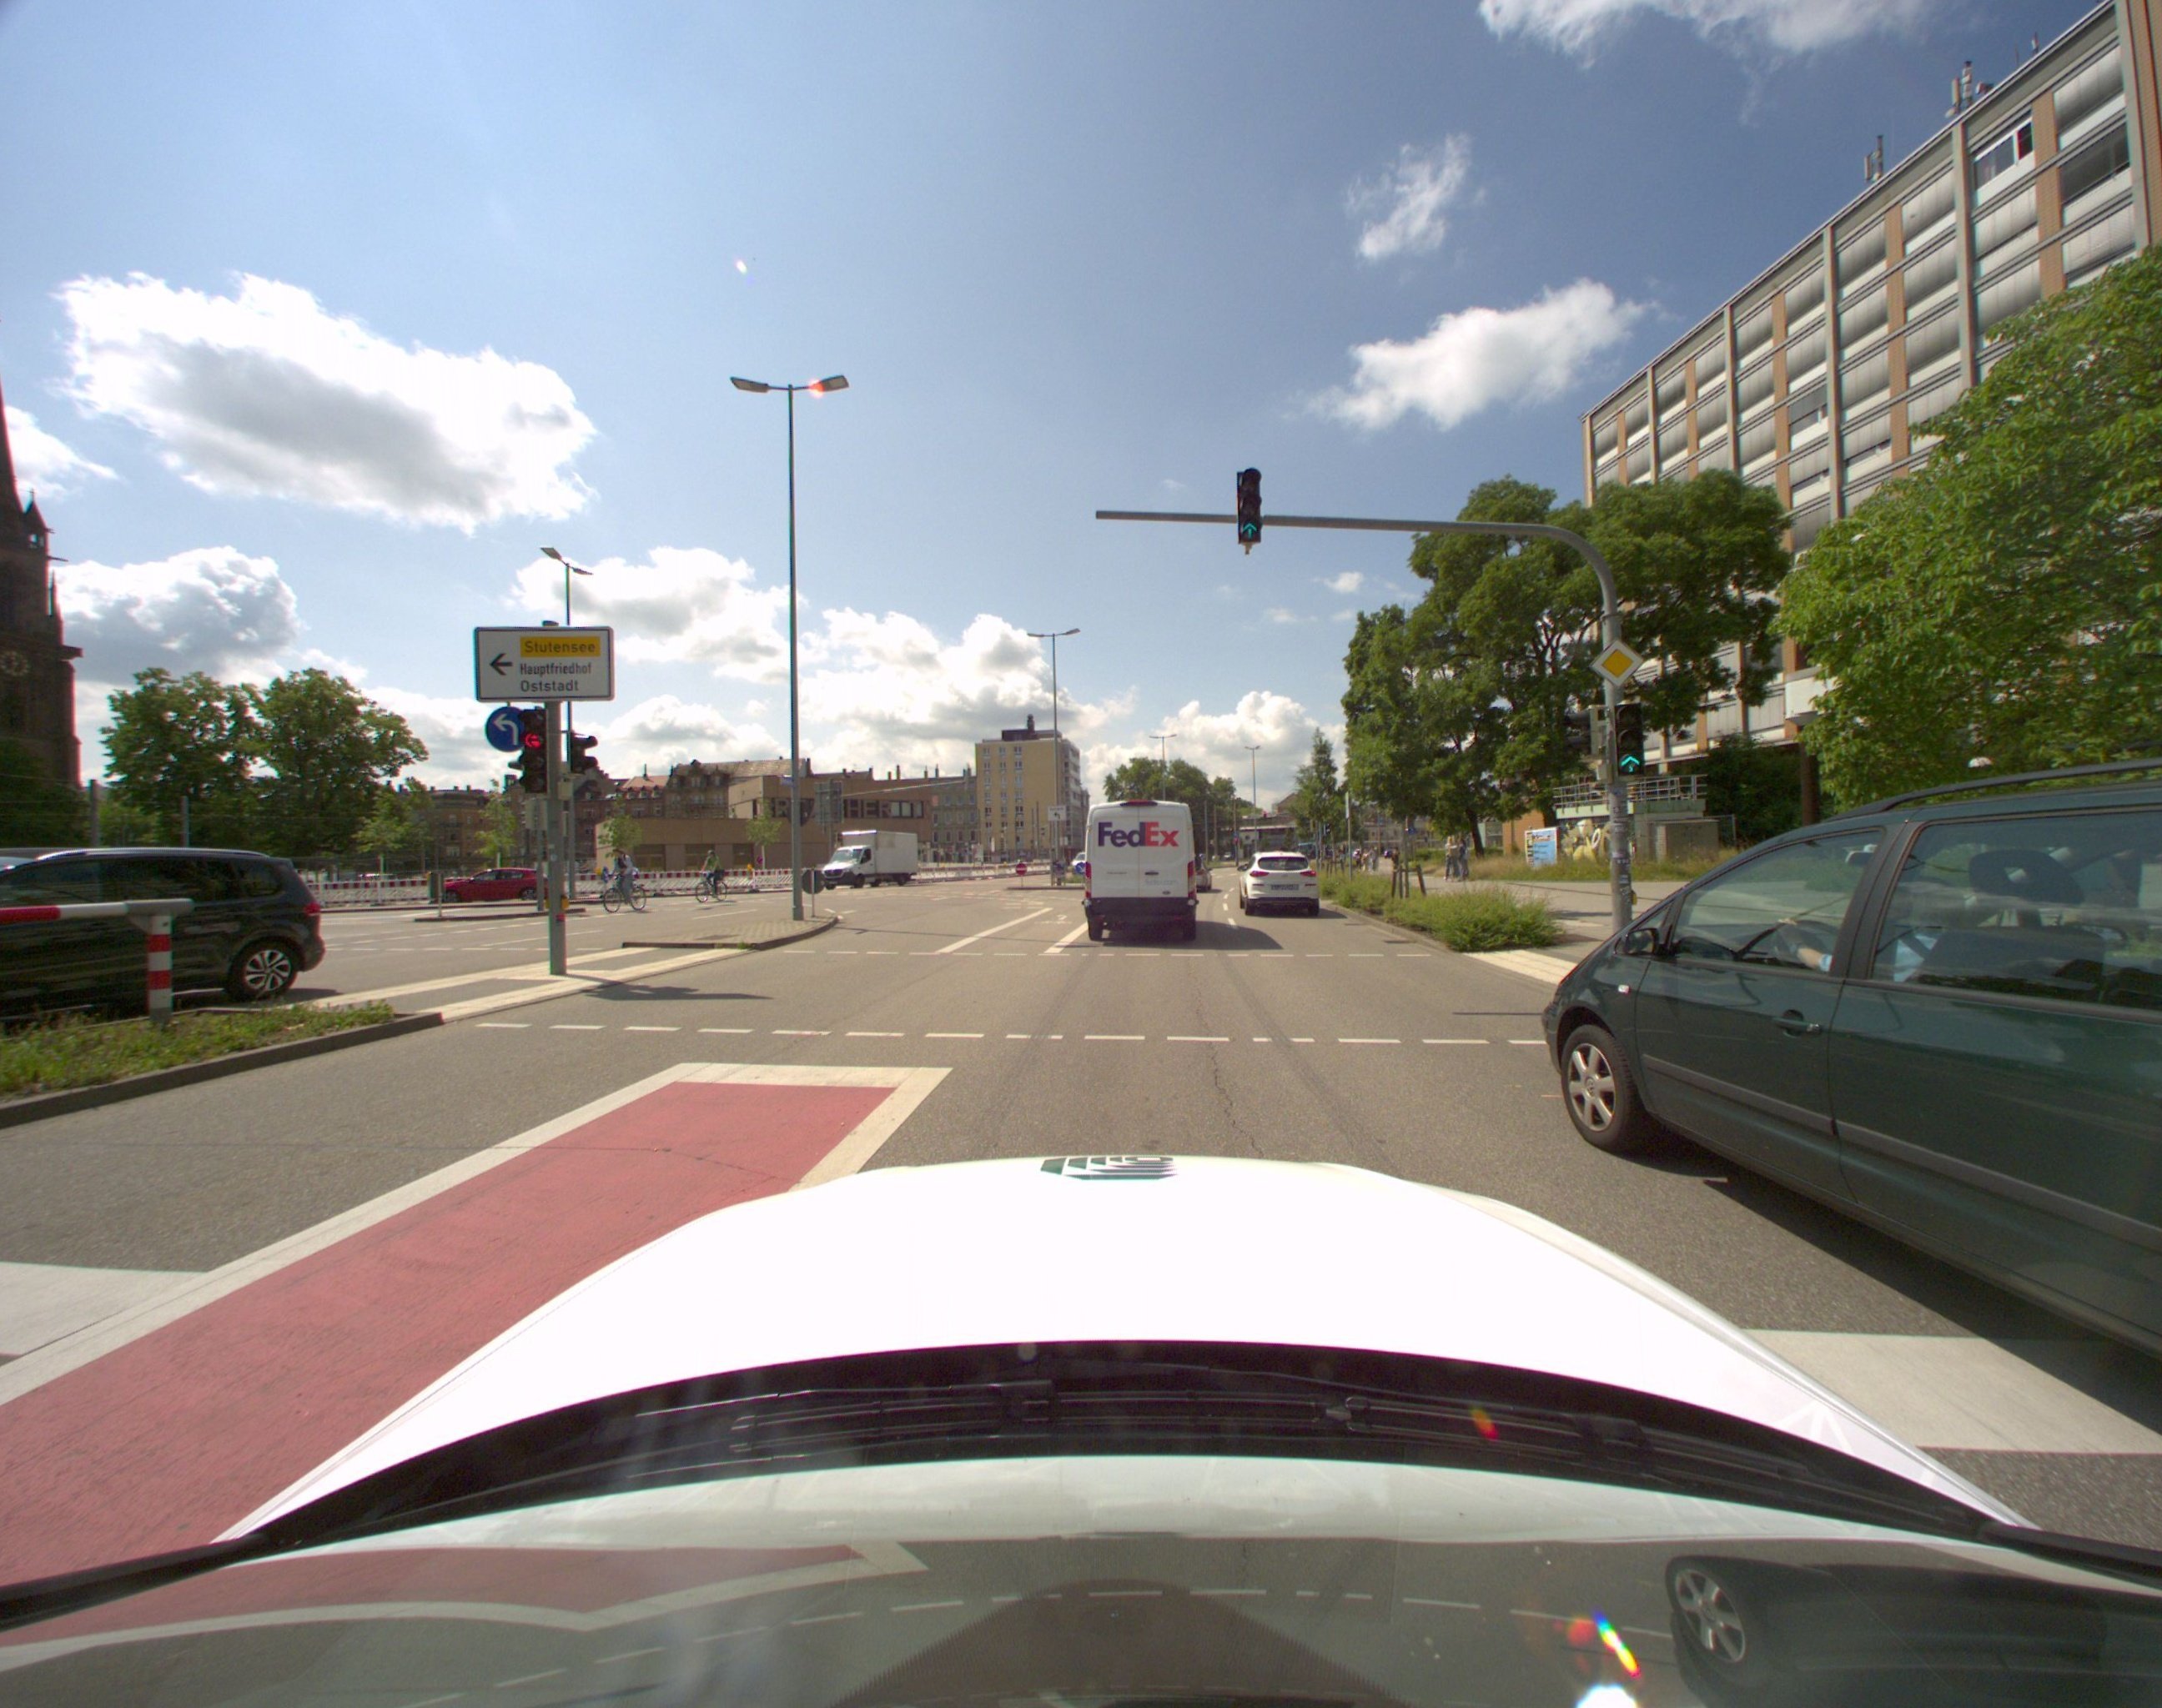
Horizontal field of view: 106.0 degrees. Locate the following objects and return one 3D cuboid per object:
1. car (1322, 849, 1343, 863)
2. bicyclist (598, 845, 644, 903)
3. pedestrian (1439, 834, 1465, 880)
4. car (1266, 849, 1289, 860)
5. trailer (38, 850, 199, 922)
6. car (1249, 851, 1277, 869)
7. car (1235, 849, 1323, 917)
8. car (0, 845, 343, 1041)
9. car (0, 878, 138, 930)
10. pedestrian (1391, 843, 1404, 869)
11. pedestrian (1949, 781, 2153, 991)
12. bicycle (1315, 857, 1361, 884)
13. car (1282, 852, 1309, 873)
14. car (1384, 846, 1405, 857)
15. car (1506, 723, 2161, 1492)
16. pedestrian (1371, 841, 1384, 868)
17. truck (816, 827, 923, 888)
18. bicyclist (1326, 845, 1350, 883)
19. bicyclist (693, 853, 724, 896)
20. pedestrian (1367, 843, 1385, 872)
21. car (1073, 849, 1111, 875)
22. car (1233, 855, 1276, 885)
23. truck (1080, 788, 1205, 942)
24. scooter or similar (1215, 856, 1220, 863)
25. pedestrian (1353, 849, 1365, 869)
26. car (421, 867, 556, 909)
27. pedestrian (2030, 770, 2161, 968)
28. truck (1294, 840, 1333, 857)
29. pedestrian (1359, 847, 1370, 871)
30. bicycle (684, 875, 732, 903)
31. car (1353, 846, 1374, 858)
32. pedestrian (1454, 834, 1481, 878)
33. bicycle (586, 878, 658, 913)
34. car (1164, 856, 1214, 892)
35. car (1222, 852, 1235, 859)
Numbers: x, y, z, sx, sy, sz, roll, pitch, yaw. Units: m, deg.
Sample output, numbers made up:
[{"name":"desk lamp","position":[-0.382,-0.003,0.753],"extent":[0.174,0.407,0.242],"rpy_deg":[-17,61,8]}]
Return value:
[{"name":"car","position":[31.243,0.241,101.078],"extent":[1.863,1.641,3.981],"rpy_deg":[-2,0,27]},{"name":"bicyclist","position":[-13.339,0.566,23.624],"extent":[0.773,1.618,0.844],"rpy_deg":[-2,0,3]},{"name":"pedestrian","position":[14.953,0.116,32.837],"extent":[0.746,1.802,0.611],"rpy_deg":[-3,0,7]},{"name":"car","position":[35.218,0.018,146.038],"extent":[1.702,1.800,4.768],"rpy_deg":[-3,-1,44]},{"name":"trailer","position":[-42.087,1.347,35.696],"extent":[1.974,2.914,4.393],"rpy_deg":[-1,-1,36]},{"name":"car","position":[18.676,0.598,83.476],"extent":[1.911,1.641,4.819],"rpy_deg":[-2,0,23]},{"name":"car","position":[5.295,0.717,22.272],"extent":[1.871,1.641,4.242],"rpy_deg":[-2,0,8]},{"name":"car","position":[-9.838,0.753,7.610],"extent":[1.872,1.624,4.161],"rpy_deg":[-1,-1,5]},{"name":"car","position":[-33.533,1.609,25.815],"extent":[4.645,1.486,1.997],"rpy_deg":[-2,0,-5]},{"name":"pedestrian","position":[22.709,0.157,58.421],"extent":[0.751,1.821,0.676],"rpy_deg":[0,-1,10]},{"name":"pedestrian","position":[8.854,0.275,7.478],"extent":[0.748,1.777,0.880],"rpy_deg":[-3,0,-6]},{"name":"bicycle","position":[11.278,0.729,35.749],"extent":[1.800,1.050,0.593],"rpy_deg":[-4,-2,7]},{"name":"car","position":[18.218,0.681,69.004],"extent":[1.866,1.641,3.976],"rpy_deg":[-2,0,19]},{"name":"car","position":[47.207,-0.386,122.606],"extent":[1.863,1.641,3.982],"rpy_deg":[-2,0,35]},{"name":"car","position":[3.384,0.574,2.787],"extent":[1.786,1.723,4.452],"rpy_deg":[1,0,4]},{"name":"pedestrian","position":[20.532,0.024,56.376],"extent":[0.751,1.821,0.639],"rpy_deg":[0,-1,8]},{"name":"truck","position":[-11.395,0.224,44.681],"extent":[1.977,3.068,7.364],"rpy_deg":[-1,-1,18]},{"name":"bicyclist","position":[11.288,0.457,35.755],"extent":[0.823,1.601,0.581],"rpy_deg":[-4,-2,7]},{"name":"bicyclist","position":[-12.978,0.689,28.402],"extent":[0.561,1.461,0.839],"rpy_deg":[-2,0,11]},{"name":"pedestrian","position":[19.503,0.250,53.877],"extent":[0.753,1.821,0.780],"rpy_deg":[-5,-1,2]},{"name":"car","position":[0.892,0.609,63.872],"extent":[1.868,1.894,4.888],"rpy_deg":[-2,0,14]},{"name":"car","position":[8.851,0.779,41.826],"extent":[1.904,1.420,3.927],"rpy_deg":[-2,0,8]},{"name":"truck","position":[1.347,0.218,16.965],"extent":[2.126,2.640,5.926],"rpy_deg":[0,0,6]},{"name":"scooter or similar","position":[23.712,0.918,141.462],"extent":[0.374,1.115,1.101],"rpy_deg":[-1,-2,43]},{"name":"pedestrian","position":[21.599,0.380,63.268],"extent":[0.753,1.590,0.762],"rpy_deg":[0,-1,2]},{"name":"car","position":[-23.698,1.332,32.747],"extent":[3.905,1.486,1.987],"rpy_deg":[-2,0,-20]},{"name":"pedestrian","position":[9.574,0.130,7.596],"extent":[0.665,1.746,0.608],"rpy_deg":[-3,0,-6]},{"name":"truck","position":[41.664,-1.053,145.744],"extent":[2.858,2.852,8.846],"rpy_deg":[-2,0,43]},{"name":"pedestrian","position":[19.748,0.350,56.786],"extent":[0.584,1.626,0.729],"rpy_deg":[0,-1,9]},{"name":"bicycle","position":[-12.971,1.210,28.359],"extent":[0.563,0.889,1.748],"rpy_deg":[-2,0,11]},{"name":"car","position":[40.333,-0.266,116.228],"extent":[1.863,1.641,3.982],"rpy_deg":[-2,0,35]},{"name":"pedestrian","position":[15.762,0.089,33.243],"extent":[0.746,1.752,0.611],"rpy_deg":[-3,0,7]},{"name":"bicycle","position":[-13.313,1.196,23.714],"extent":[0.773,0.889,2.110],"rpy_deg":[-2,0,3]},{"name":"car","position":[4.733,0.834,35.213],"extent":[1.729,1.391,4.194],"rpy_deg":[-2,0,12]},{"name":"car","position":[34.509,0.328,190.362],"extent":[1.976,1.574,4.200],"rpy_deg":[-1,-1,22]}]
